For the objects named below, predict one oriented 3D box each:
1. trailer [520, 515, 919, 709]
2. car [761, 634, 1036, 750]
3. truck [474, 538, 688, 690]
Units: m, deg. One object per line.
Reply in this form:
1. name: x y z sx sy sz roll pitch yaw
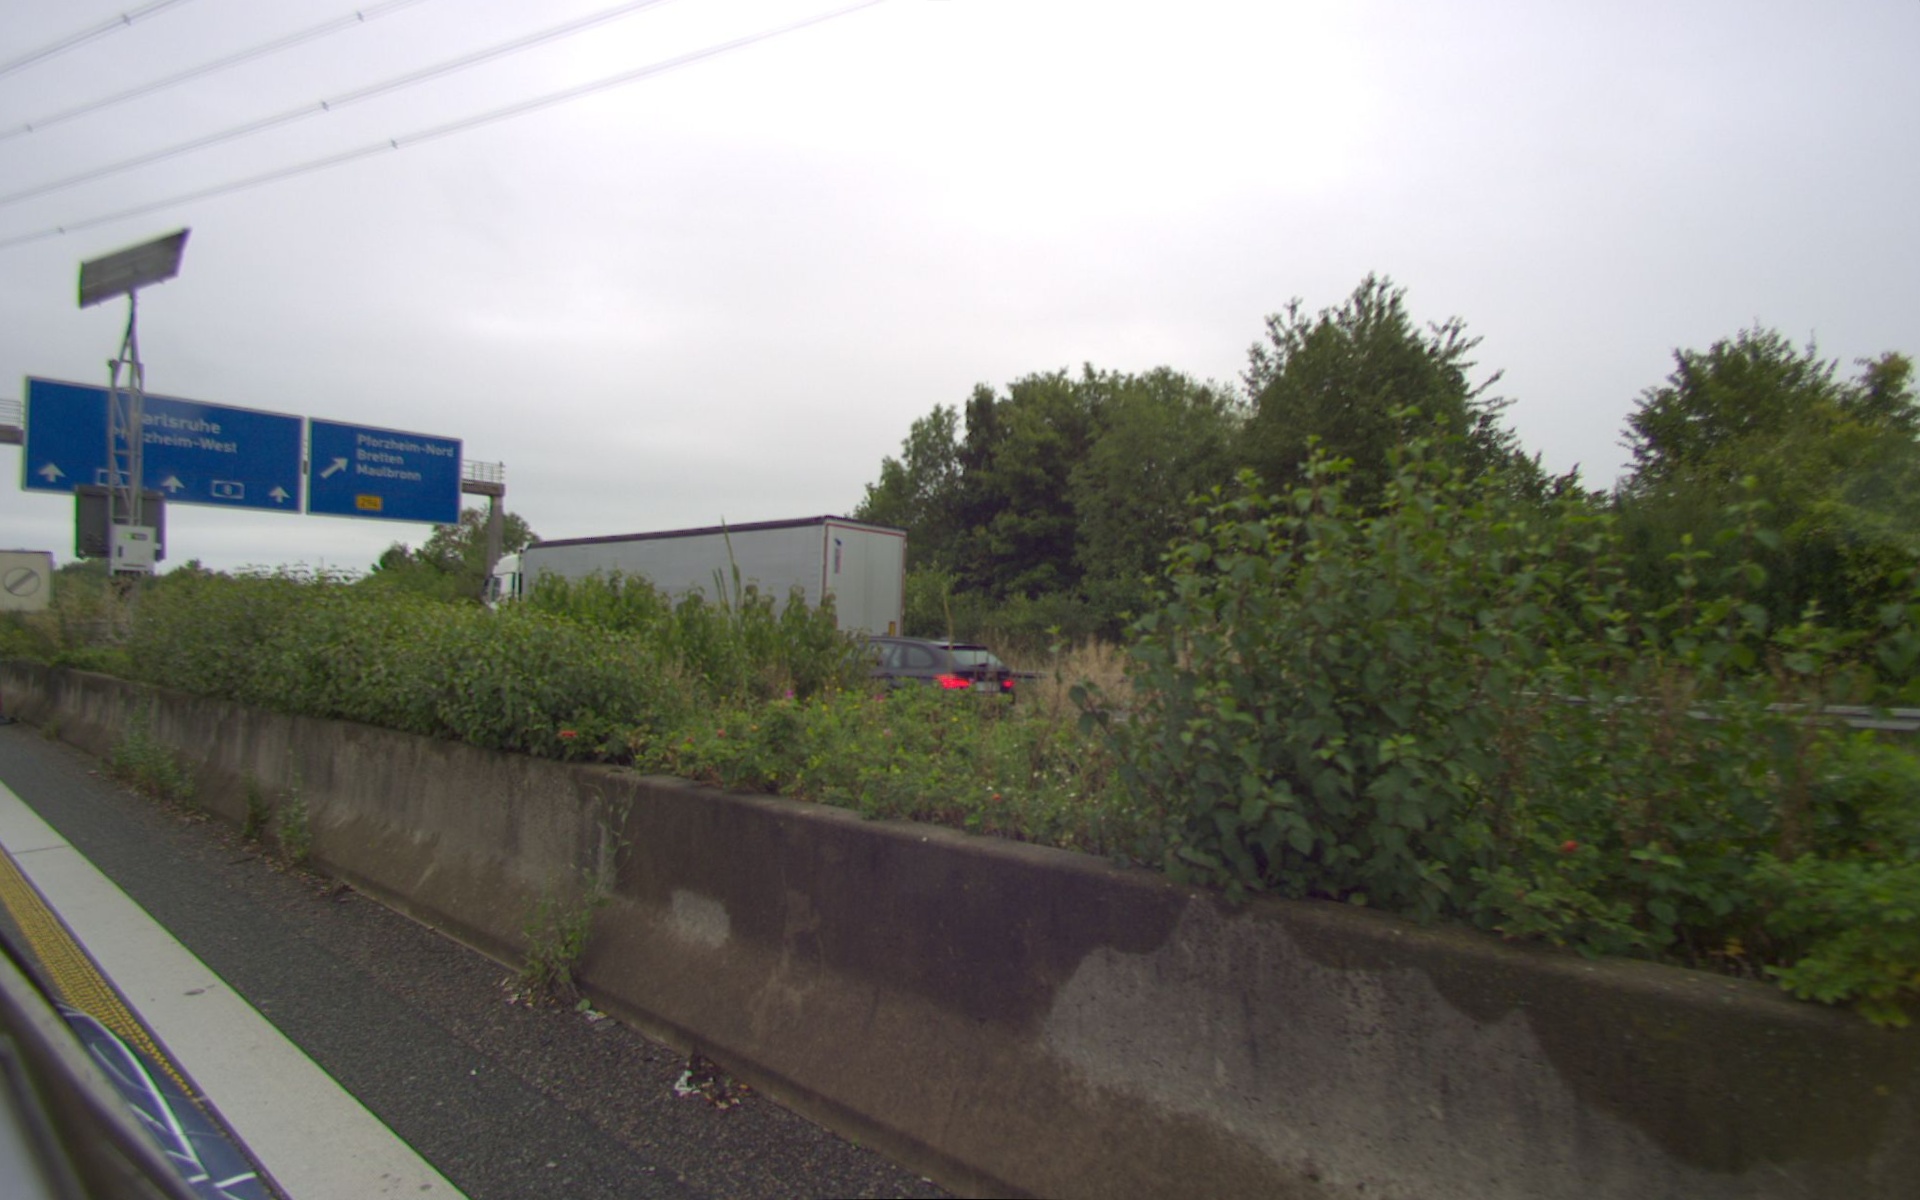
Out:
1. trailer: -6.908 0.423 26.456 13.242 4.054 2.757 -1 -4 41
2. car: -1.003 1.260 15.060 3.998 1.460 1.773 -1 -2 41
3. truck: -11.525 0.508 30.443 7.228 4.054 2.757 -1 -4 41
